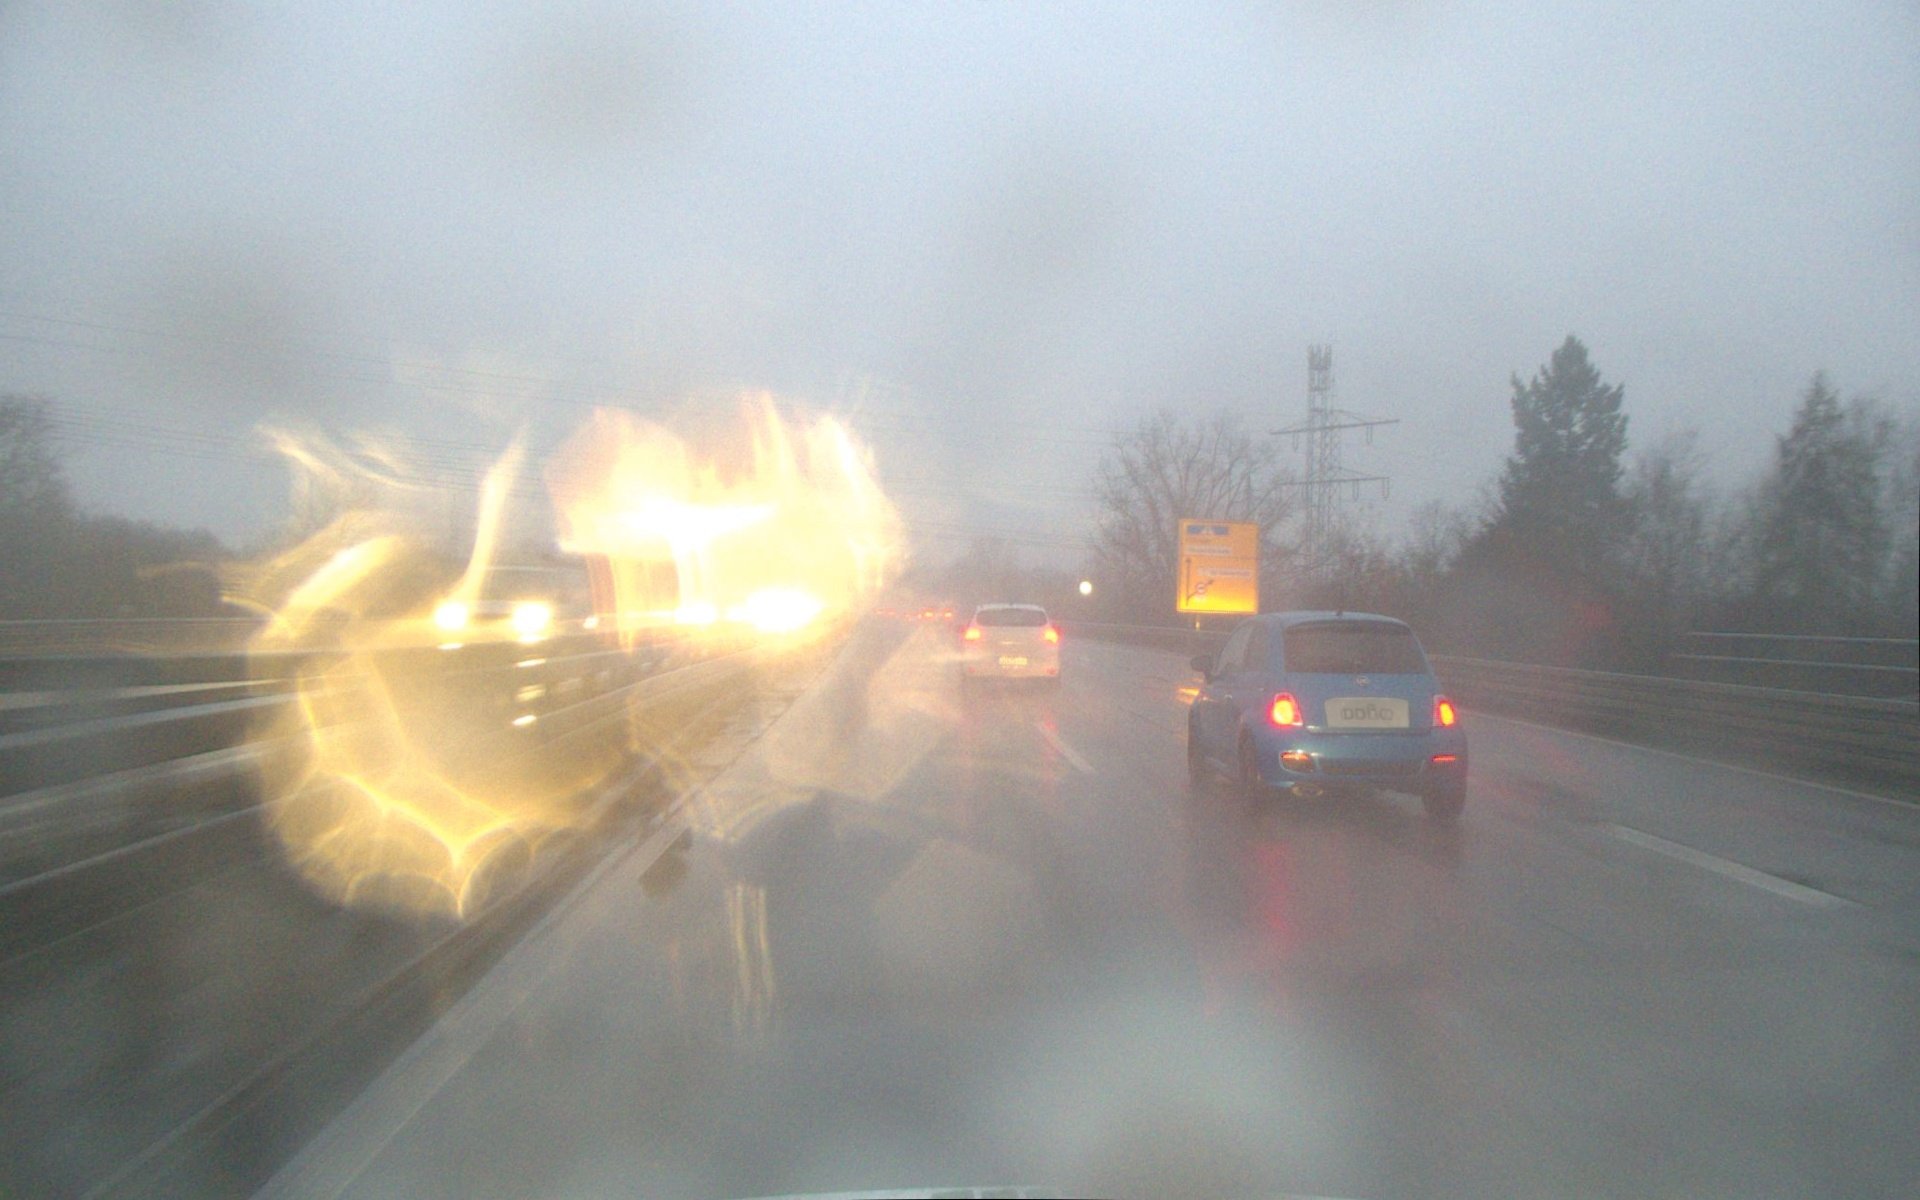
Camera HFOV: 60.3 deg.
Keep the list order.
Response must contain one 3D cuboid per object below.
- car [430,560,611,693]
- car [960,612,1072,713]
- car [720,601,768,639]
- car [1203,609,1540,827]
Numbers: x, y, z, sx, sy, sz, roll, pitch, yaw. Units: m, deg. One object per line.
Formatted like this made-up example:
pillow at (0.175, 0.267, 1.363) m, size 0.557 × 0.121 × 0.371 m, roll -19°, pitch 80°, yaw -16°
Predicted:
car at (-7.784, 0.386, 29.799) m, size 1.953 × 2.173 × 5.198 m, roll 0°, pitch 1°, yaw -1°
car at (0.957, 1.077, 30.071) m, size 1.808 × 1.664 × 3.767 m, roll 2°, pitch 0°, yaw -1°
car at (-9.964, 0.907, 76.520) m, size 1.808 × 1.680 × 3.537 m, roll 2°, pitch 0°, yaw -1°
car at (3.297, 0.868, 14.097) m, size 1.808 × 1.479 × 4.148 m, roll 0°, pitch 1°, yaw 0°
